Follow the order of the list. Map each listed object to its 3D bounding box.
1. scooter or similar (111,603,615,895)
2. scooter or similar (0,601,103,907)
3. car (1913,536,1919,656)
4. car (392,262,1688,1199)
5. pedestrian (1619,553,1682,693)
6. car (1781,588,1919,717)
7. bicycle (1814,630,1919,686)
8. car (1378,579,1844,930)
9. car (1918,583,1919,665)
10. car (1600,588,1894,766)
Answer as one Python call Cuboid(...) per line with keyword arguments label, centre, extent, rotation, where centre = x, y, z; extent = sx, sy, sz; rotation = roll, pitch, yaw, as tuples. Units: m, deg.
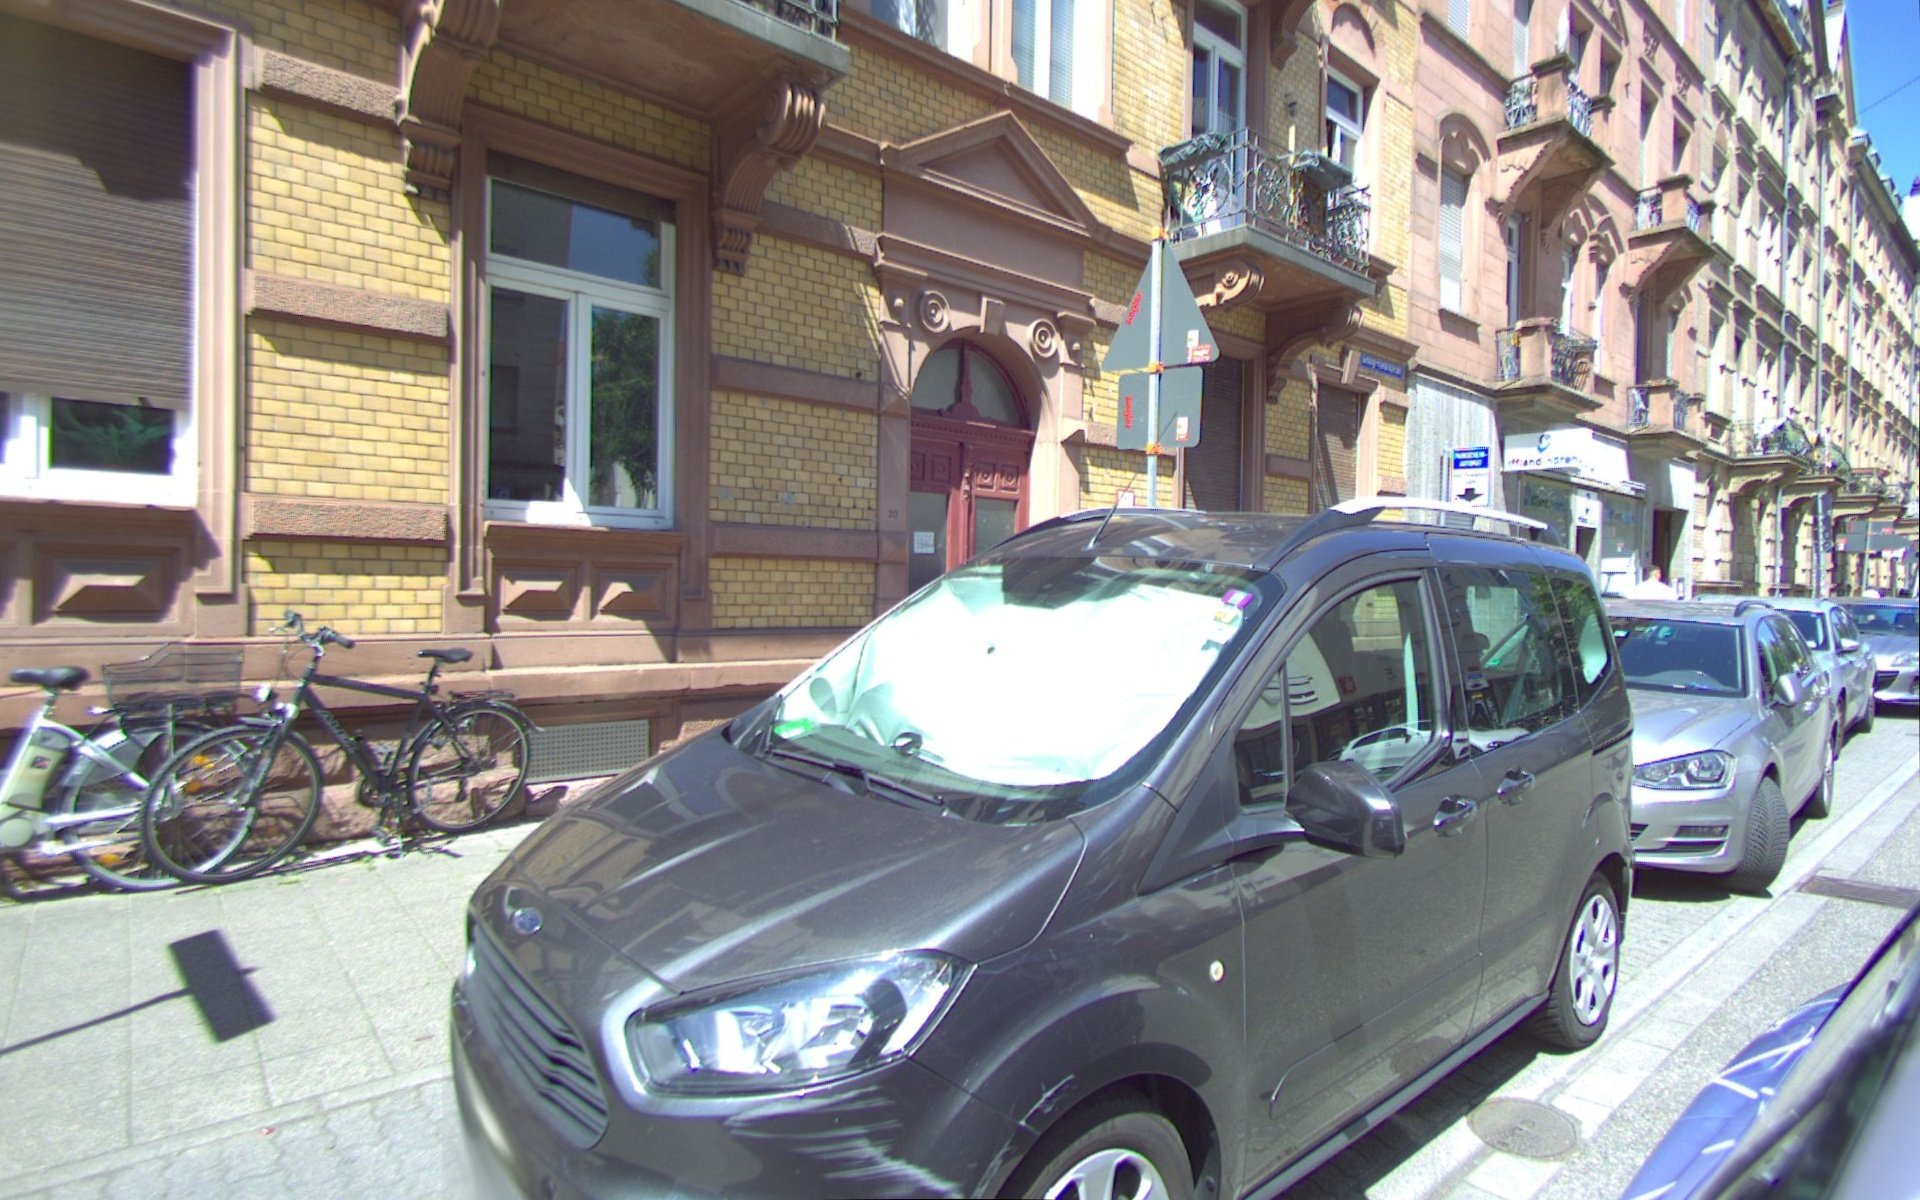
Cuboid(label="scooter or similar", centre=(-2.805, 0.606, 4.963), extent=(2.075, 1.167, 0.477), rotation=(0, 1, -41))
Cuboid(label="scooter or similar", centre=(-4.412, 0.595, 3.571), extent=(2.112, 1.167, 0.477), rotation=(0, 1, -41))
Cuboid(label="car", centre=(24.350, -0.110, 23.982), extent=(4.951, 2.737, 2.066), rotation=(0, 0, -41))
Cuboid(label="car", centre=(0.652, 0.469, 3.096), extent=(3.930, 1.755, 1.705), rotation=(0, 1, -41))
Cuboid(label="pedestrian", centre=(9.799, 0.307, 14.374), extent=(0.363, 1.938, 0.634), rotation=(0, 1, -40))
Cuboid(label="car", centre=(12.049, 0.589, 13.234), extent=(3.628, 1.480, 1.600), rotation=(-1, 1, -44))
Cuboid(label="bicycle", centre=(14.653, 0.909, 15.767), extent=(0.557, 0.786, 1.968), rotation=(0, 1, -36))
Cuboid(label="car", centre=(4.200, 0.620, 6.247), extent=(1.760, 1.468, 3.844), rotation=(0, 1, 43))
Cuboid(label="car", centre=(20.294, 0.454, 20.086), extent=(3.934, 1.556, 1.679), rotation=(-1, 1, -44))
Cuboid(label="car", centre=(8.232, 0.615, 10.456), extent=(3.933, 1.479, 1.827), rotation=(-1, 1, -43))
